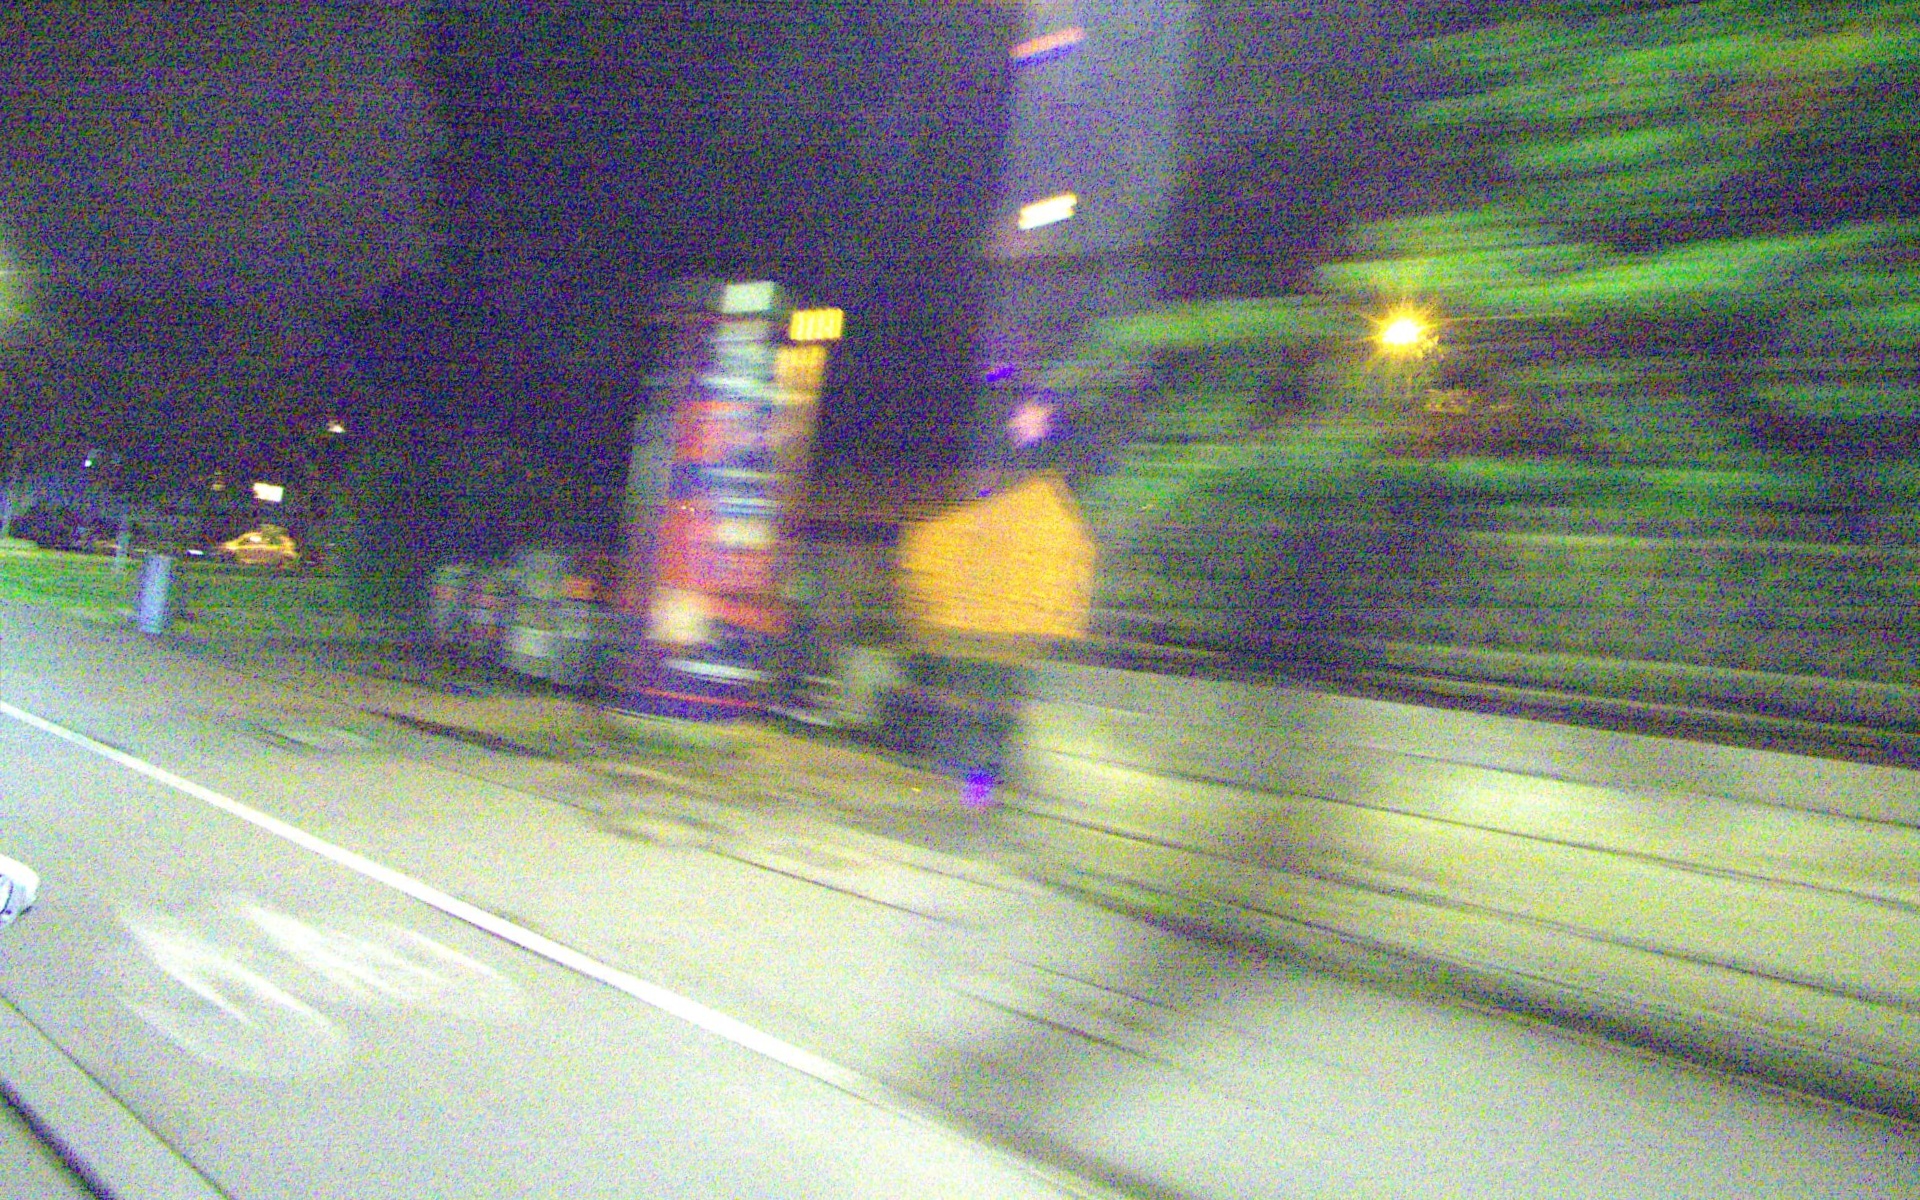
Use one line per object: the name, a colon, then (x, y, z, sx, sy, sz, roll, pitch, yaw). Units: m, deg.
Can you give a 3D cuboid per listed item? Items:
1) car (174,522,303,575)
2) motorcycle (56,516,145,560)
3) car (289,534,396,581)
car: (-28.020, -1.980, 39.195, 1.829, 1.497, 3.634, 7, -1, 16)
motorcycle: (-30.023, -2.154, 35.177, 0.698, 1.229, 2.267, 7, -1, 16)
car: (-26.995, -1.828, 44.137, 1.582, 1.566, 4.035, 7, -1, 11)
